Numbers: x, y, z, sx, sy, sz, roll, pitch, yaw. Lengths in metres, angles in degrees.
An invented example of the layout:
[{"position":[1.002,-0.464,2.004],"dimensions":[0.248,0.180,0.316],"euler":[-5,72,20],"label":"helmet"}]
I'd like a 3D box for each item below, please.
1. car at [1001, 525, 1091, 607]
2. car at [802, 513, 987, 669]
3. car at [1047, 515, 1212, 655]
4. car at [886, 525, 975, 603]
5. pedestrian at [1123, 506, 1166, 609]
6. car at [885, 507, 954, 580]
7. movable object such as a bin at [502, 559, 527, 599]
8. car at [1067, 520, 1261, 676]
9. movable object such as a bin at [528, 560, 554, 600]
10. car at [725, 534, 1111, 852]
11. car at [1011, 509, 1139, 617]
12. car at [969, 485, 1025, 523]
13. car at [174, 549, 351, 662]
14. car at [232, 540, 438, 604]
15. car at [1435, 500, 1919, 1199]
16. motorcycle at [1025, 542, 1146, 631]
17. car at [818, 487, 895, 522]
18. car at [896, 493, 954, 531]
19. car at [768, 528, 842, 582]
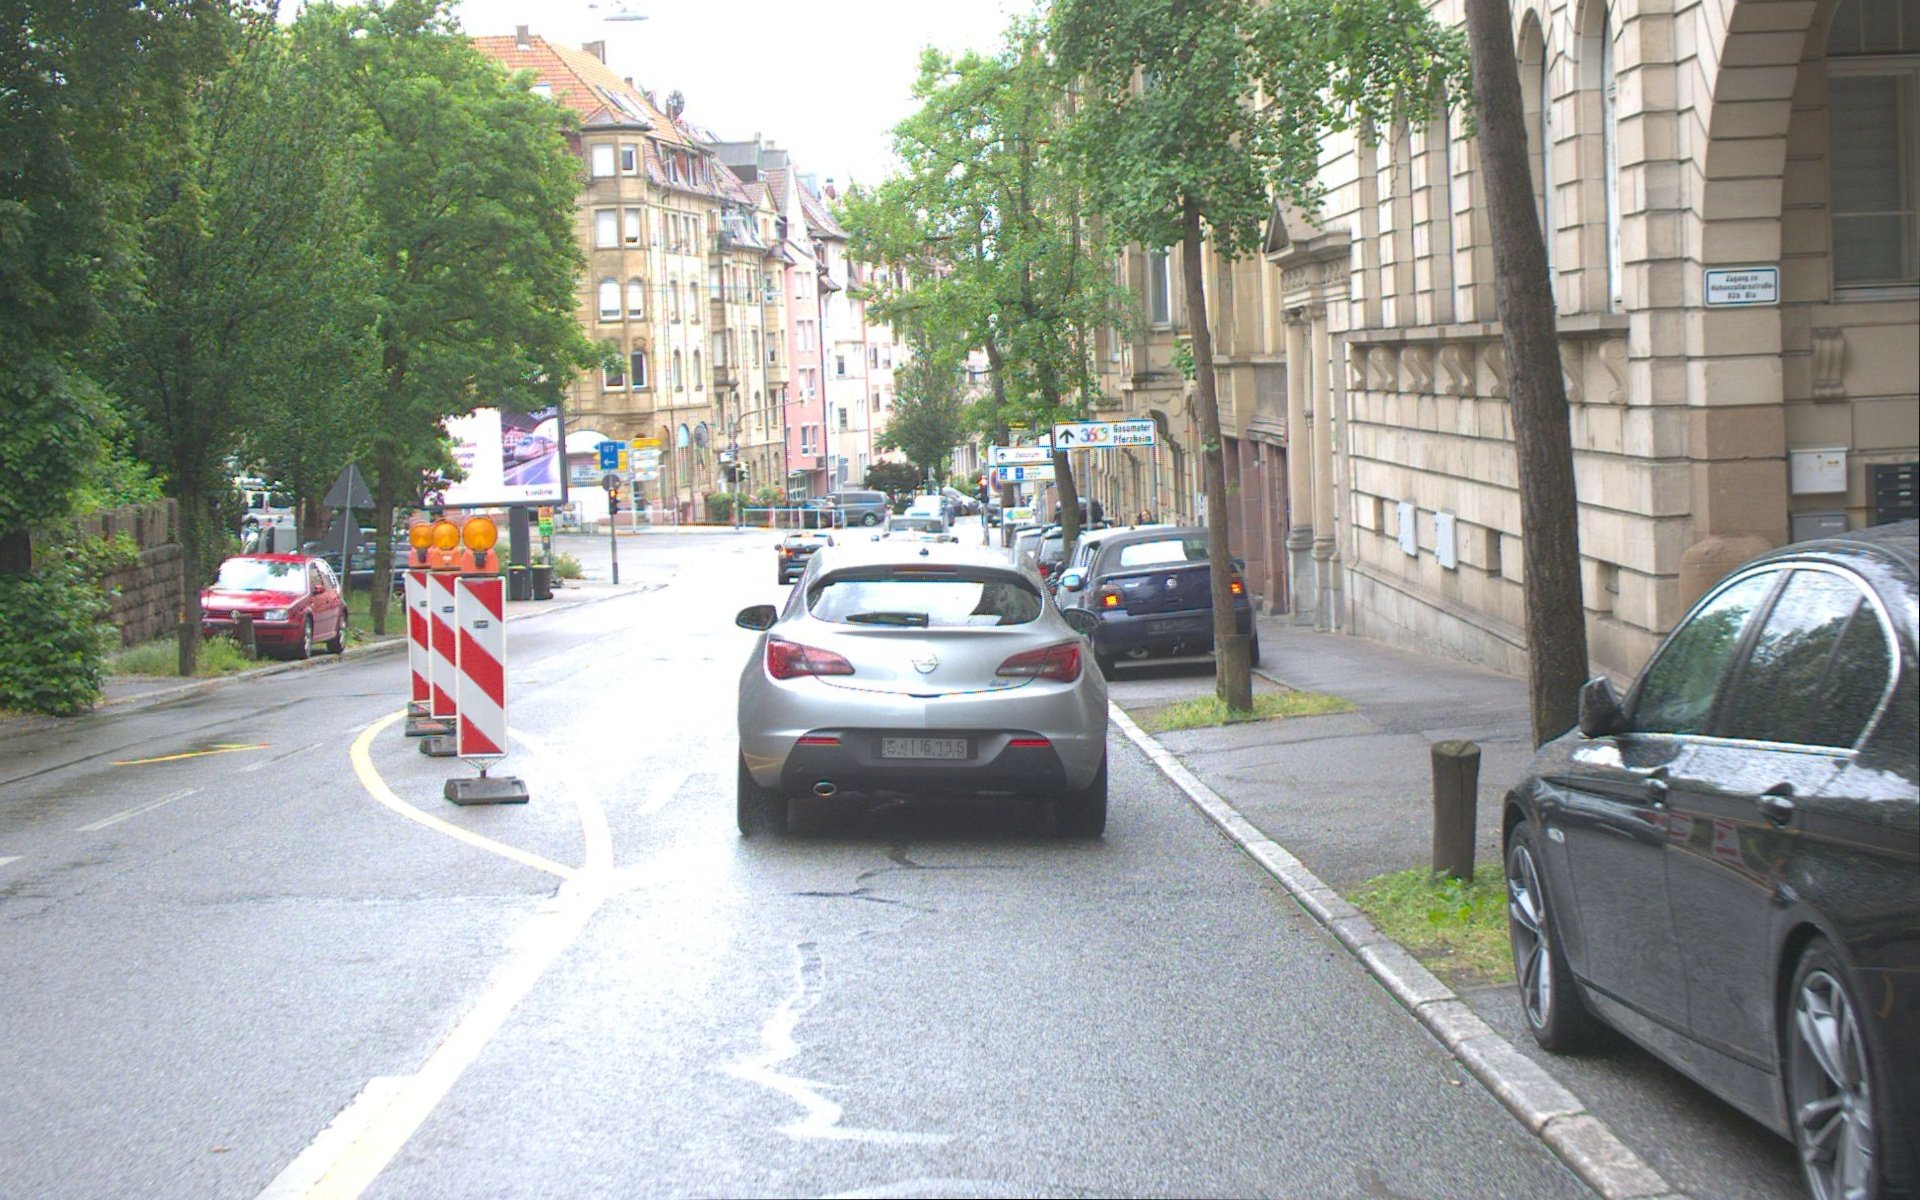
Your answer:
[{"position":[1.707,-0.709,69.354],"dimensions":[1.637,1.519,3.858],"euler":[-2,2,0],"label":"car"},{"position":[-0.731,-0.137,35.858],"dimensions":[1.772,1.499,3.870],"euler":[0,2,-3],"label":"car"},{"position":[1.912,-0.213,39.759],"dimensions":[1.637,1.464,3.858],"euler":[-2,2,0],"label":"car"},{"position":[-0.664,-0.790,73.933],"dimensions":[1.656,1.537,3.666],"euler":[-4,1,-3],"label":"car"},{"position":[3.357,-0.775,62.596],"dimensions":[0.716,1.863,0.636],"euler":[0,0,-1],"label":"pedestrian"},{"position":[-0.997,-1.428,85.823],"dimensions":[1.656,1.776,3.666],"euler":[-1,1,0],"label":"car"},{"position":[-11.853,-0.557,91.420],"dimensions":[0.625,1.055,0.720],"euler":[1,1,-7],"label":"movable object such as a bin"},{"position":[2.010,-0.057,34.647],"dimensions":[1.637,1.424,3.377],"euler":[-2,2,-1],"label":"car"},{"position":[-11.280,-0.541,92.522],"dimensions":[0.658,1.055,0.627],"euler":[1,1,-9],"label":"movable object such as a bin"},{"position":[-0.255,0.400,18.126],"dimensions":[1.811,1.444,3.870],"euler":[0,2,-2],"label":"car"},{"position":[1.795,-0.611,54.590],"dimensions":[1.637,1.597,3.858],"euler":[-2,2,-3],"label":"car"},{"position":[1.725,-4.413,158.769],"dimensions":[1.994,1.678,3.998],"euler":[1,1,9],"label":"car"},{"position":[-9.803,0.044,48.572],"dimensions":[1.637,1.434,4.080],"euler":[-2,2,0],"label":"car"},{"position":[-14.042,-0.637,77.244],"dimensions":[4.308,1.239,1.643],"euler":[-3,2,-19],"label":"car"},{"position":[2.434,0.529,8.015],"dimensions":[1.757,1.456,4.724],"euler":[-4,2,-2],"label":"car"},{"position":[1.768,-0.193,48.212],"dimensions":[0.657,1.231,1.977],"euler":[1,1,39],"label":"motorcycle"},{"position":[-5.506,-5.073,183.211],"dimensions":[3.987,1.744,2.000],"euler":[1,1,-1],"label":"car"},{"position":[-1.599,-4.068,159.311],"dimensions":[1.994,1.678,3.998],"euler":[1,1,9],"label":"car"},{"position":[-4.540,-1.335,101.153],"dimensions":[1.993,1.495,4.000],"euler":[-1,1,0],"label":"car"}]
